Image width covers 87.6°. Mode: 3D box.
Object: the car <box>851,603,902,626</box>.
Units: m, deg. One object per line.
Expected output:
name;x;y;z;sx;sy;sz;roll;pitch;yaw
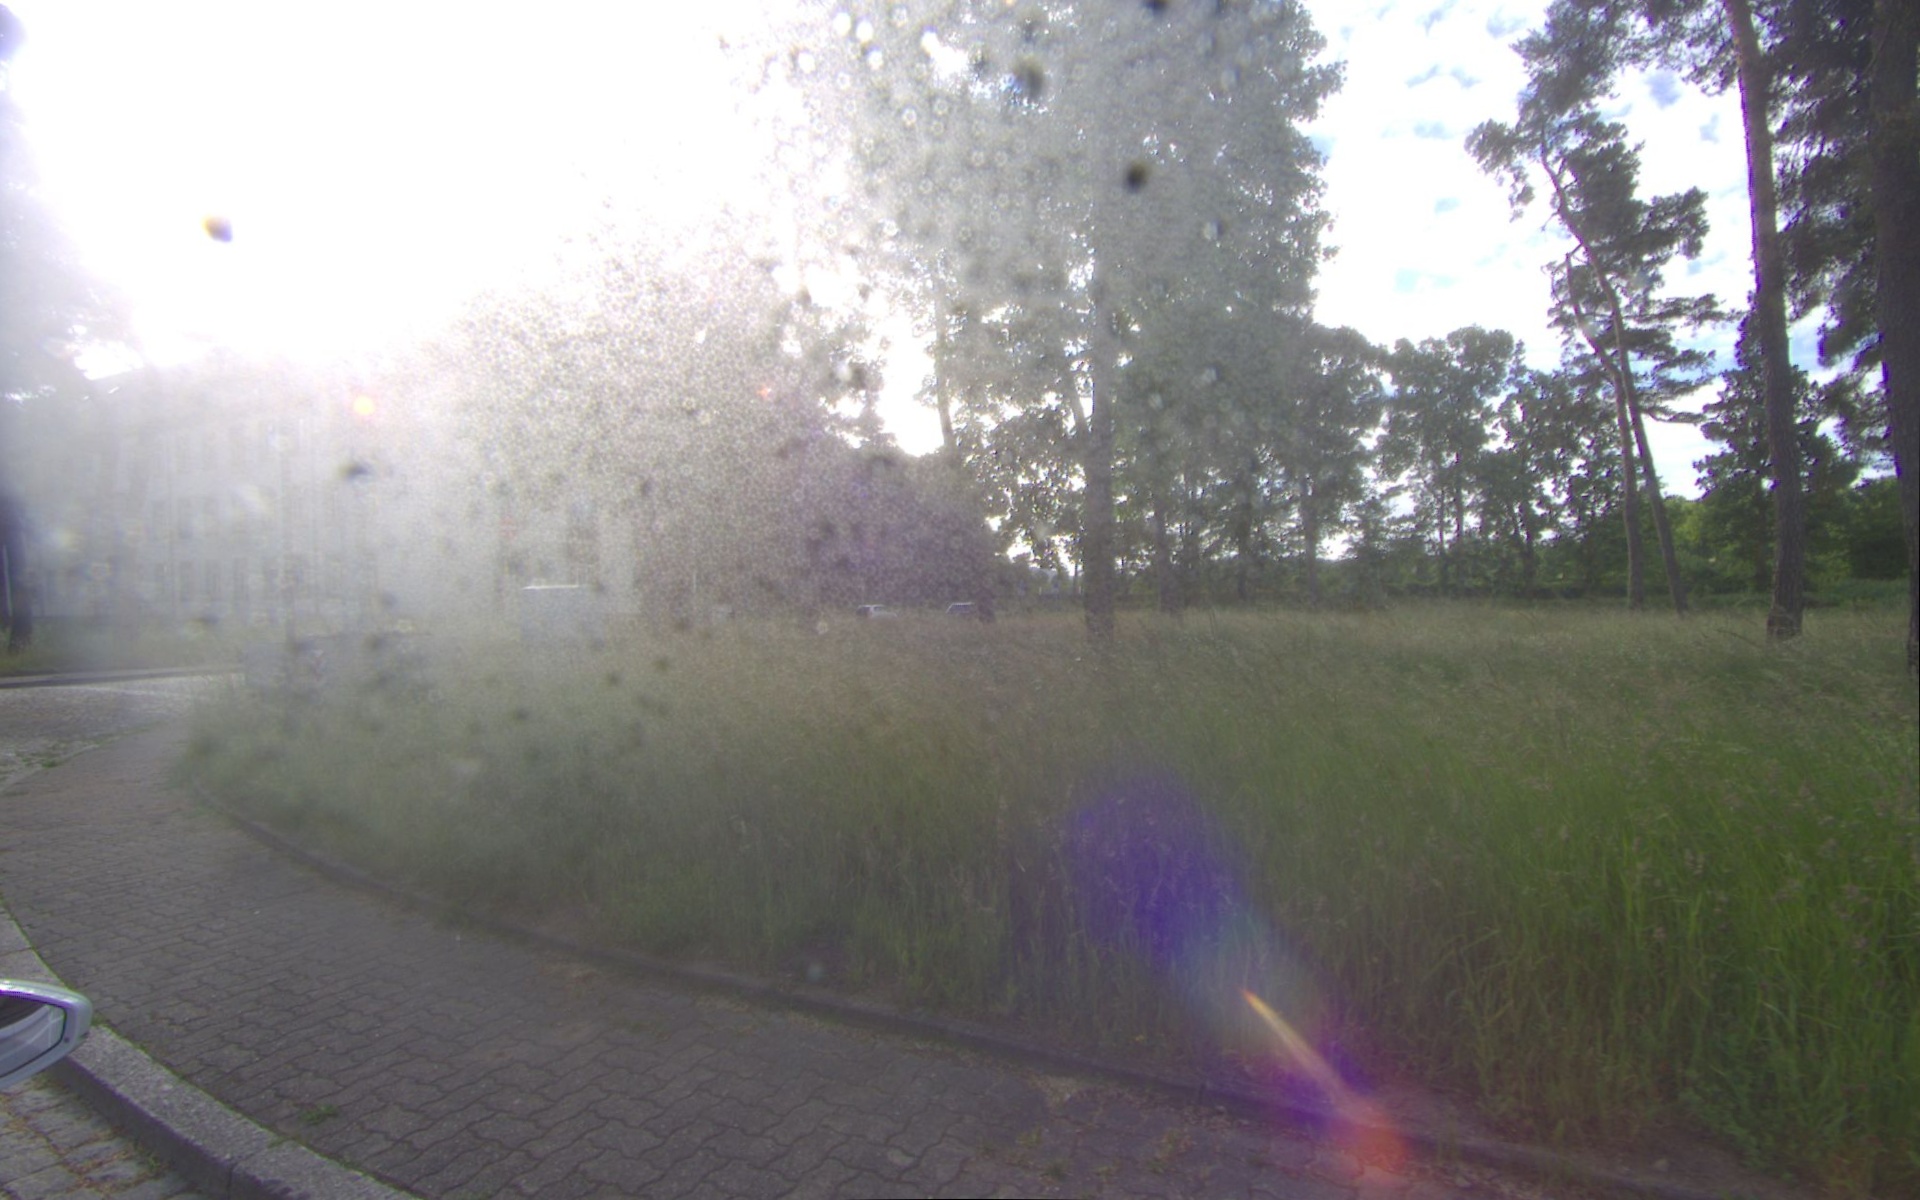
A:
car;-5.650;1.014;67.962;1.539;1.416;3.985;-1;-2;29

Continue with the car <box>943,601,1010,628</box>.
car;0.991;0.888;62.938;3.924;1.622;1.999;-1;0;-8
